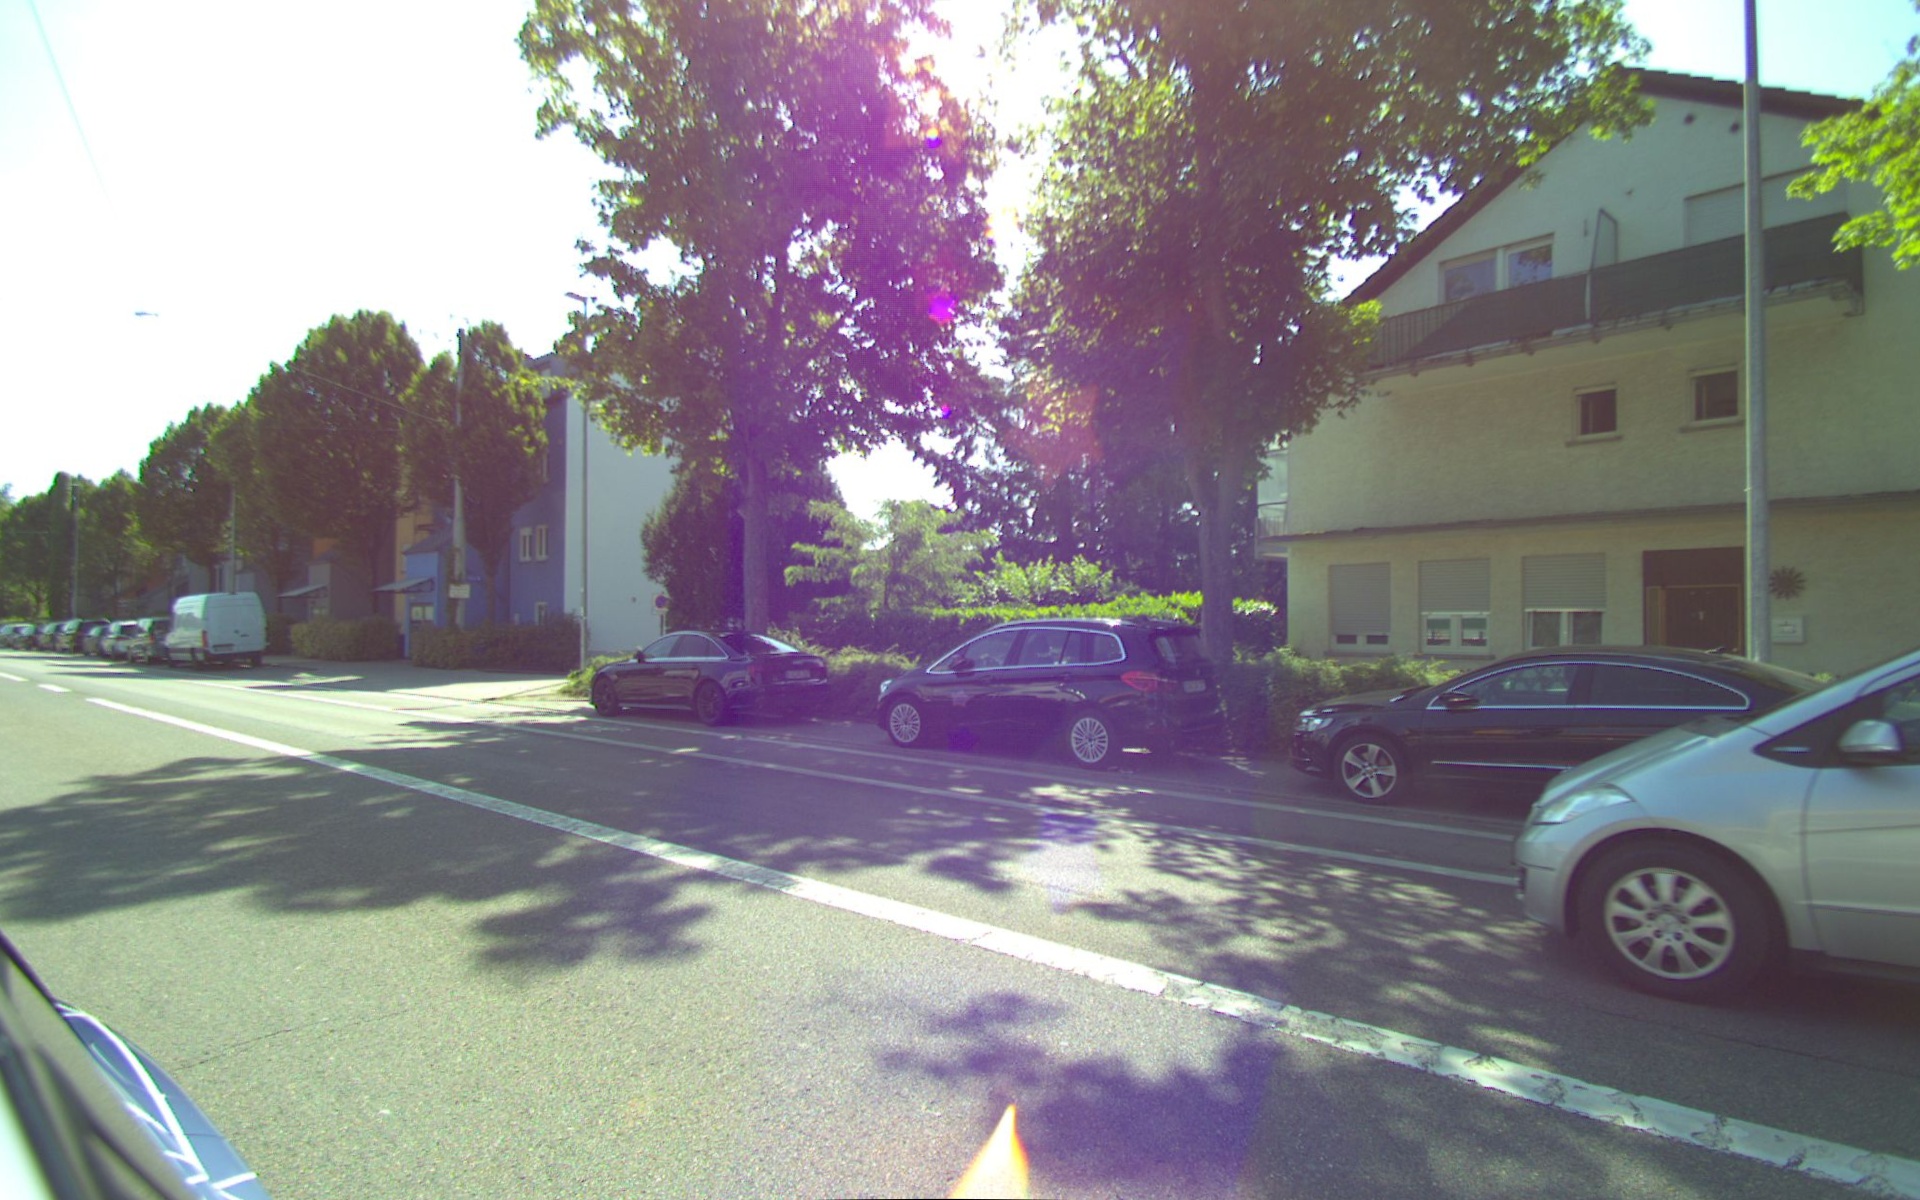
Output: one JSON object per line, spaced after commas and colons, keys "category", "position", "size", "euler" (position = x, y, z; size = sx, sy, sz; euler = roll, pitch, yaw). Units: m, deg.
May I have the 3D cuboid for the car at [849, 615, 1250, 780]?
{"category": "car", "position": [0.924, 1.017, 12.232], "size": [4.619, 1.583, 1.844], "euler": [-1, 0, 41]}

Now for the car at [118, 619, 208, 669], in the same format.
{"category": "car", "position": [-33.515, 1.806, 42.506], "size": [4.766, 1.818, 1.974], "euler": [-2, 4, 41]}

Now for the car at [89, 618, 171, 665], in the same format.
{"category": "car", "position": [-38.003, 1.870, 46.284], "size": [4.766, 1.818, 1.974], "euler": [-2, 4, 41]}

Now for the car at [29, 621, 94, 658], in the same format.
{"category": "car", "position": [-50.277, 2.193, 56.620], "size": [4.766, 1.818, 1.974], "euler": [-2, 4, 41]}

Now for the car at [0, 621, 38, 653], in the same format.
{"category": "car", "position": [-60.273, 2.349, 64.192], "size": [4.766, 1.818, 1.974], "euler": [-2, 4, 41]}

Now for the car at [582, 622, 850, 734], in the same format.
{"category": "car", "position": [-4.077, 1.155, 16.516], "size": [4.616, 1.583, 1.845], "euler": [-1, -2, 39]}

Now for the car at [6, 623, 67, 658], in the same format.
{"category": "car", "position": [-54.895, 2.370, 60.111], "size": [4.766, 1.818, 1.974], "euler": [-2, 4, 41]}

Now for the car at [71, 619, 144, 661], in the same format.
{"category": "car", "position": [-42.120, 1.944, 50.000], "size": [4.254, 1.818, 1.974], "euler": [-2, 4, 41]}

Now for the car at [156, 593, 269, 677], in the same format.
{"category": "car", "position": [-27.371, 1.235, 36.954], "size": [6.213, 2.713, 1.973], "euler": [-2, 4, 43]}

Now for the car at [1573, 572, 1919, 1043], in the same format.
{"category": "car", "position": [4.342, 0.718, 3.503], "size": [3.577, 1.565, 1.658], "euler": [-1, -4, 41]}

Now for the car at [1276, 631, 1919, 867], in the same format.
{"category": "car", "position": [5.235, 1.011, 8.412], "size": [4.619, 1.426, 1.844], "euler": [-1, 0, 41]}

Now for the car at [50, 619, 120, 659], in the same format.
{"category": "car", "position": [-45.870, 2.044, 53.008], "size": [4.766, 1.818, 1.974], "euler": [-2, 4, 41]}

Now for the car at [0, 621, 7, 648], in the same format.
{"category": "car", "position": [-68.707, 2.501, 71.078], "size": [4.766, 1.818, 1.974], "euler": [-2, 4, 41]}
